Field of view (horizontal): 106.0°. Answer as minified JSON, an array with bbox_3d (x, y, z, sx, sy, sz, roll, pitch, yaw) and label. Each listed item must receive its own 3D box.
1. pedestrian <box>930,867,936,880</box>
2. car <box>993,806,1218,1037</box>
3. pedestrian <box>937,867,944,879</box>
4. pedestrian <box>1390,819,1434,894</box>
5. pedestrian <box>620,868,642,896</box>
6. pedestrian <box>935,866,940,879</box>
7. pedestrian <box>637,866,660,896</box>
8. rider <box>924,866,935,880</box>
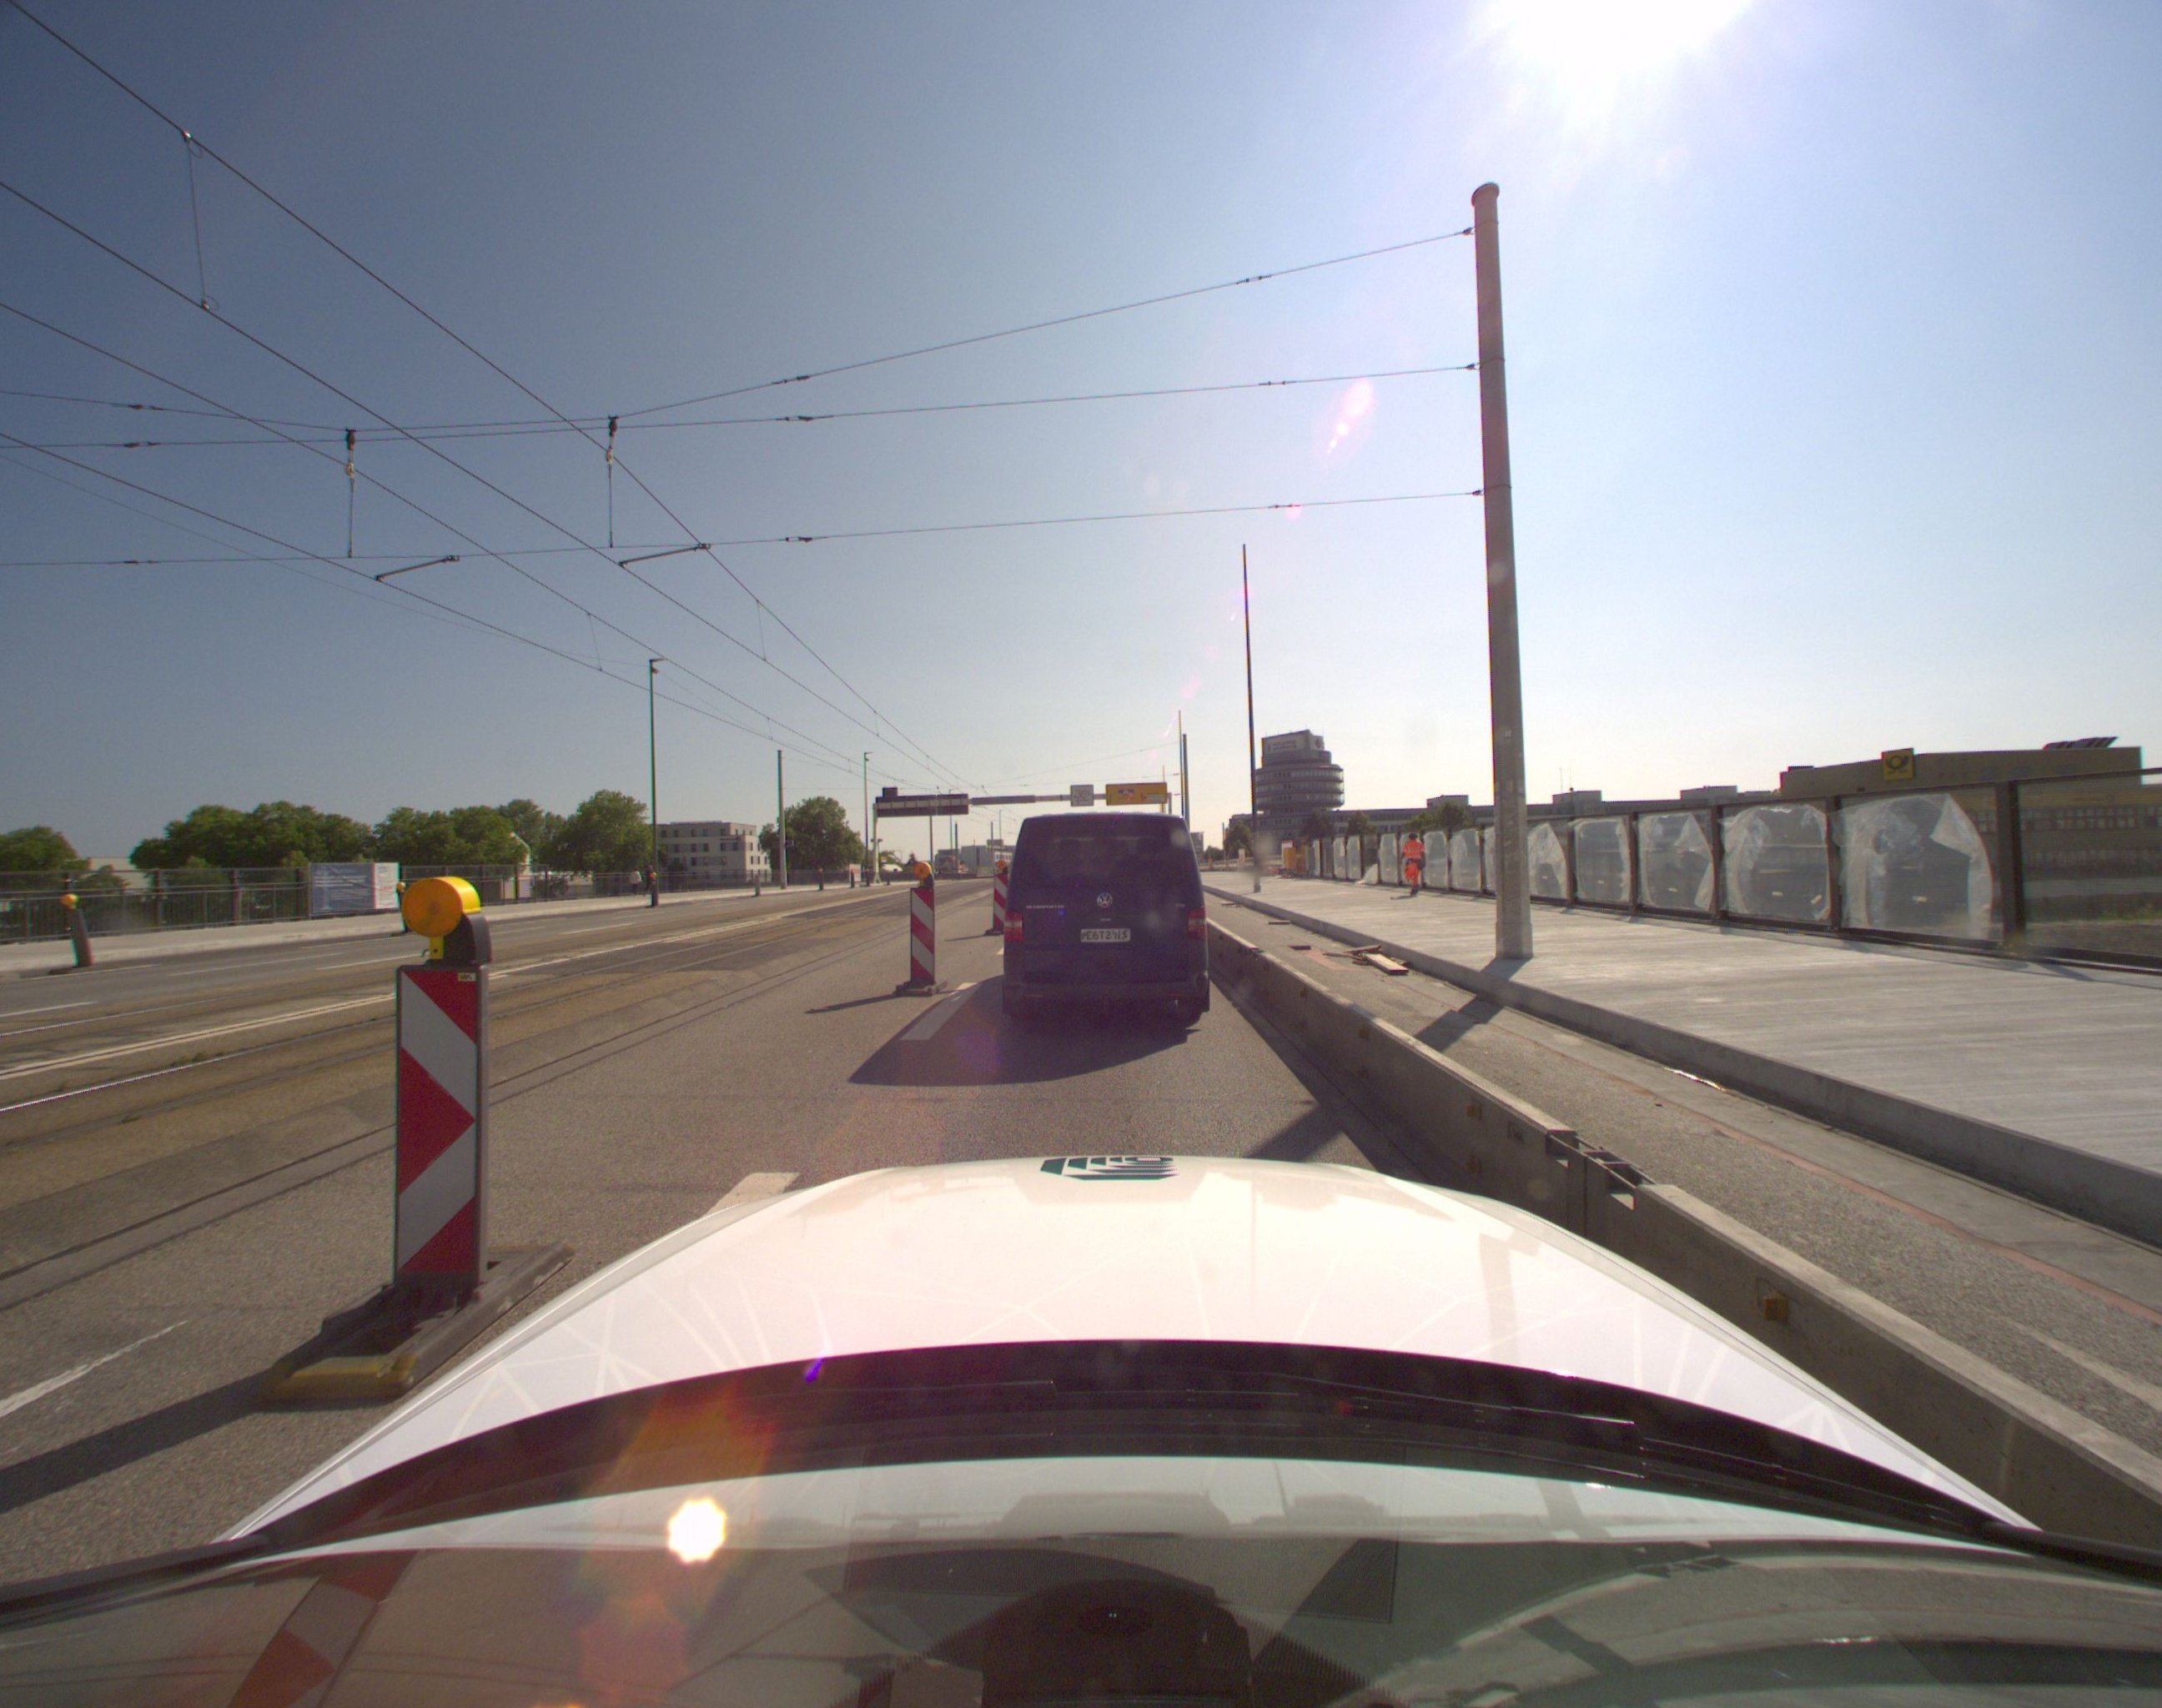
[{"bbox_3d":[-20.374,2.678,111.956,0.594,1.687,0.819,-2,-1,5],"label":"pedestrian"},{"bbox_3d":[0.265,0.592,8.839,1.881,1.934,4.001,0,-1,2],"label":"car"},{"bbox_3d":[-19.814,2.671,114.916,0.749,1.687,0.733,-2,-1,5],"label":"pedestrian"},{"bbox_3d":[9.059,0.075,22.320,0.728,1.965,1.017,-3,-1,2],"label":"pedestrian"},{"bbox_3d":[-25.207,1.547,45.627,0.717,1.544,0.889,1,-1,2],"label":"pedestrian"},{"bbox_3d":[-19.765,2.517,112.073,0.483,1.687,0.809,-2,-1,5],"label":"pedestrian"},{"bbox_3d":[-24.187,1.496,45.567,0.741,1.642,0.895,1,-1,2],"label":"pedestrian"},{"bbox_3d":[-19.053,2.359,102.472,0.760,1.733,2.952,-1,-1,1],"label":"rider"}]
